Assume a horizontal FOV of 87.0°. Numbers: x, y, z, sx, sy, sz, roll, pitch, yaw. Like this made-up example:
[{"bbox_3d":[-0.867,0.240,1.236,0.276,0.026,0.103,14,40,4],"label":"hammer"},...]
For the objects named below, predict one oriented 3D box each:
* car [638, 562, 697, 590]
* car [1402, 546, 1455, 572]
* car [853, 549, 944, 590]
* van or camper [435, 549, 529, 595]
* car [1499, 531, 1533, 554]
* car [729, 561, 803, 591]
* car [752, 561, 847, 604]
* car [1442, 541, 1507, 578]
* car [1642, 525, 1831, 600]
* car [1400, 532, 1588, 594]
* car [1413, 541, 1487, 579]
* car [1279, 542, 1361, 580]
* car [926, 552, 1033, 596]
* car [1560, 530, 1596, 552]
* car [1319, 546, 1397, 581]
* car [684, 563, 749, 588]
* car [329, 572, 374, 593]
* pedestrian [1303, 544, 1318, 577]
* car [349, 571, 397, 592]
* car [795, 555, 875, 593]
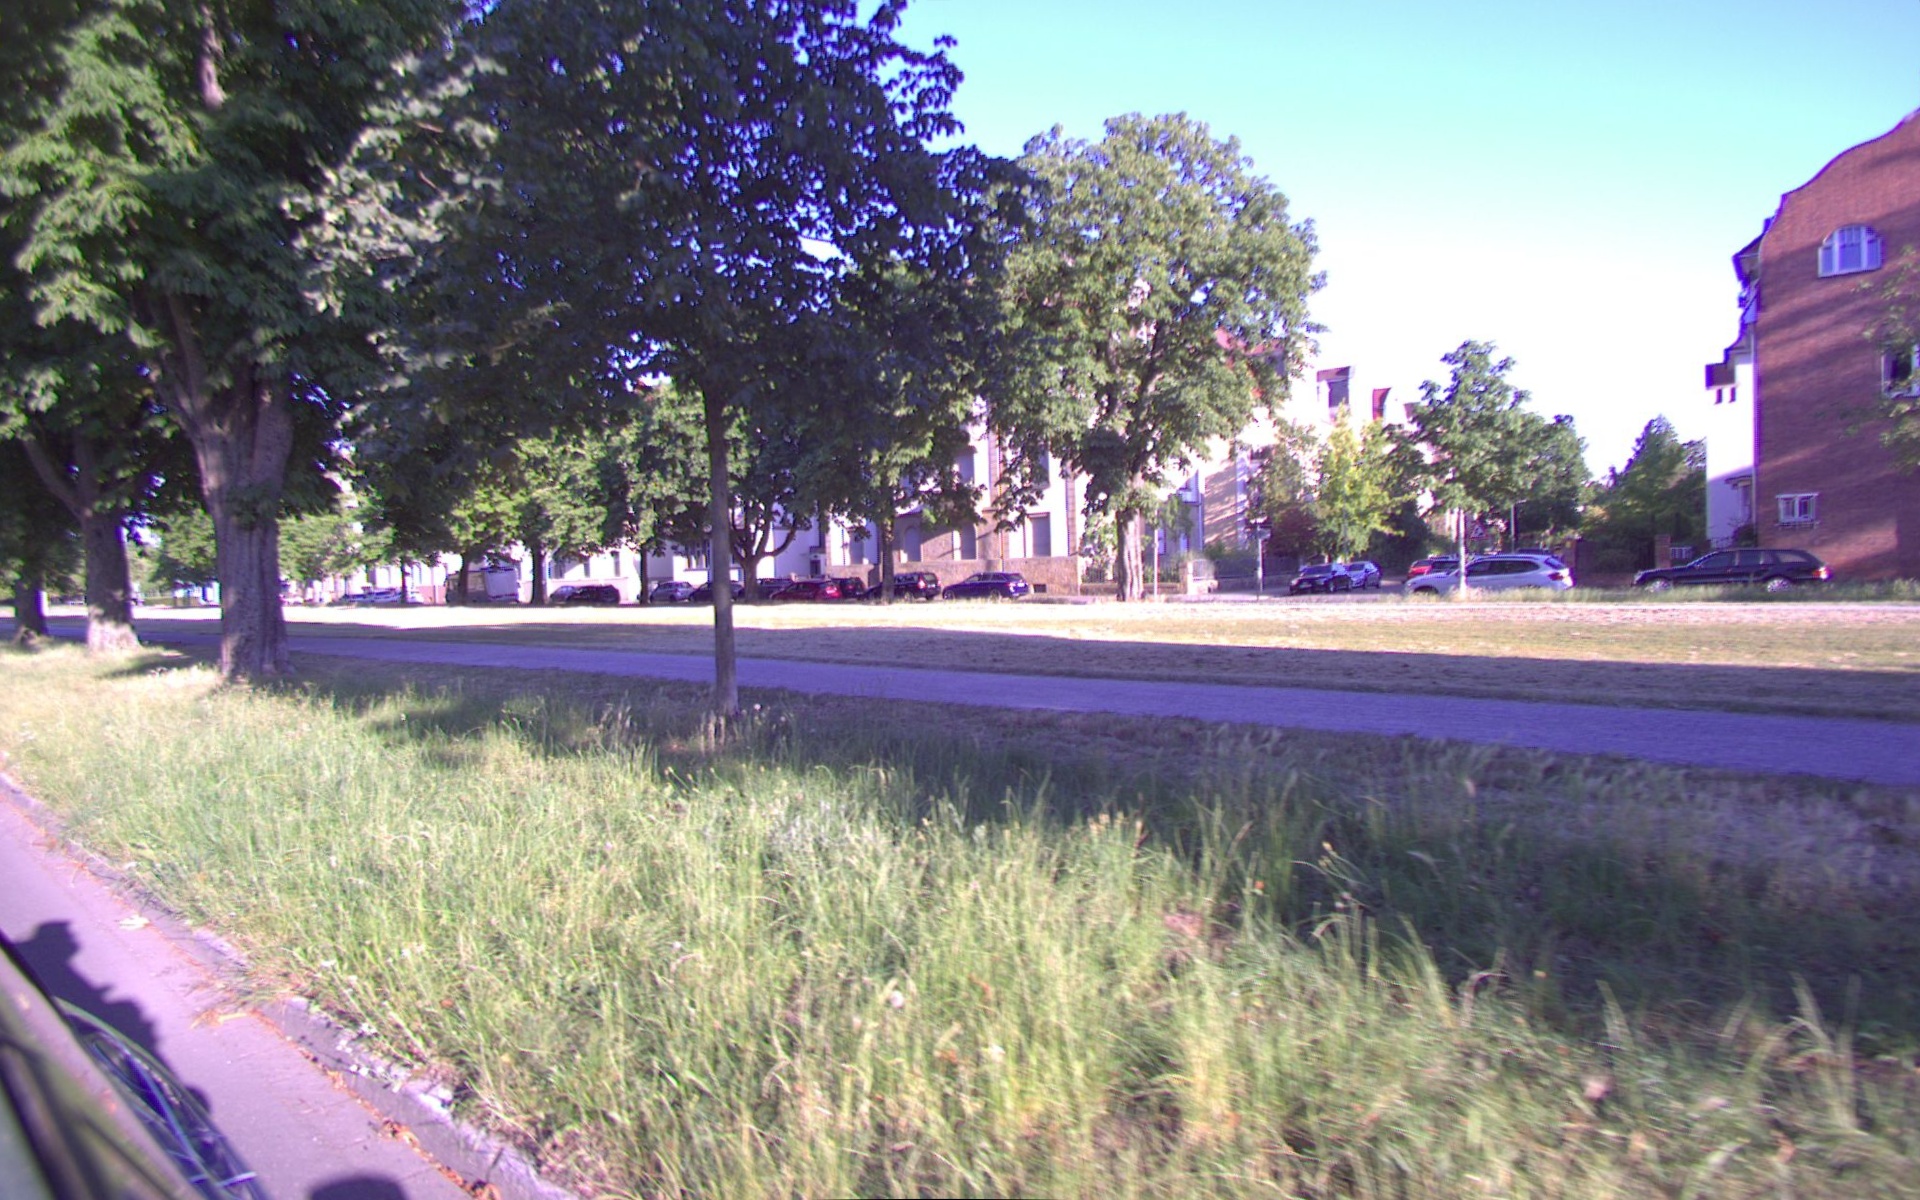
[{"bbox_3d":[-19.556,-1.579,67.607,3.999,1.747,1.972,-1,2,42],"label":"car"},{"bbox_3d":[29.404,-2.605,63.501,1.999,1.497,3.946,0,2,41],"label":"car"},{"bbox_3d":[-3.303,-1.595,53.632,4.875,2.028,1.972,0,2,42],"label":"car"},{"bbox_3d":[-34.810,-2.011,73.529,7.892,3.134,3.221,0,2,41],"label":"van or camper"},{"bbox_3d":[49.377,-5.103,89.823,1.998,1.865,3.948,-1,2,39],"label":"car"},{"bbox_3d":[-11.668,-1.452,60.842,4.425,1.665,1.974,0,2,39],"label":"car"},{"bbox_3d":[-8.001,-0.853,50.223,4.875,2.028,1.972,0,2,42],"label":"car"},{"bbox_3d":[23.549,-1.838,46.273,1.834,1.585,3.858,-1,2,39],"label":"car"},{"bbox_3d":[23.117,-1.078,30.246,4.366,2.028,1.739,-1,1,41],"label":"car"},{"bbox_3d":[15.664,-1.068,29.826,4.647,1.651,1.801,0,2,40],"label":"car"},{"bbox_3d":[20.868,-1.735,43.041,1.864,1.497,3.946,0,2,41],"label":"car"},{"bbox_3d":[16.799,-1.836,47.074,1.999,1.619,4.805,0,2,41],"label":"car"},{"bbox_3d":[0.945,-1.235,49.858,4.995,1.763,1.976,-2,-5,35],"label":"car"},{"bbox_3d":[47.753,-4.550,78.220,1.834,1.585,3.858,-1,2,39],"label":"car"},{"bbox_3d":[20.263,-1.877,51.387,2.188,1.619,4.805,0,2,41],"label":"car"},{"bbox_3d":[-15.594,-1.546,64.686,4.168,1.440,1.972,-1,2,42],"label":"car"},{"bbox_3d":[-54.186,-1.545,90.033,4.873,1.703,1.973,0,2,41],"label":"car"},{"bbox_3d":[19.840,-2.229,57.300,0.689,1.820,0.863,-1,2,26],"label":"pedestrian"},{"bbox_3d":[-50.072,-1.585,86.294,4.873,1.703,1.973,0,2,41],"label":"car"},{"bbox_3d":[-7.059,-1.454,56.965,4.425,2.028,1.974,0,2,39],"label":"car"}]
